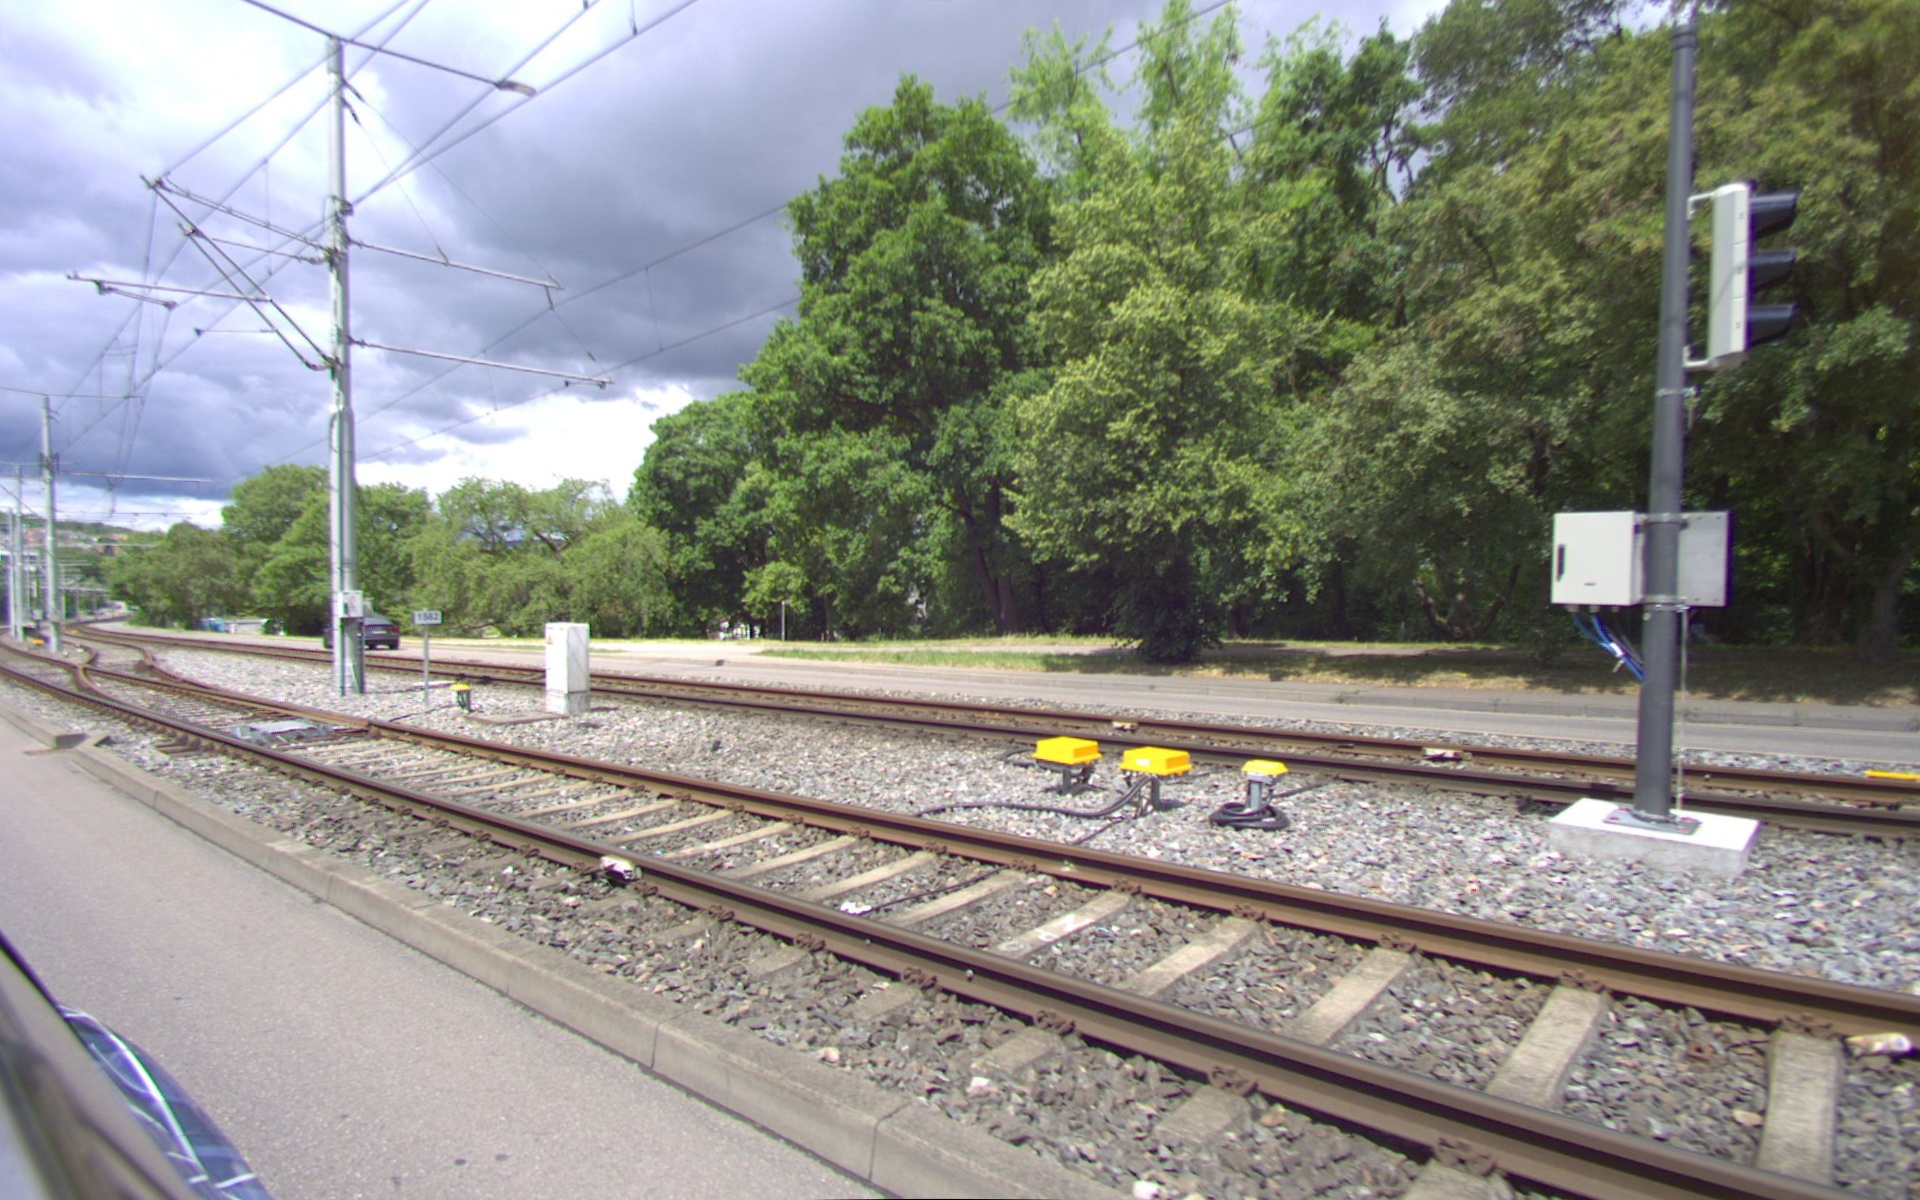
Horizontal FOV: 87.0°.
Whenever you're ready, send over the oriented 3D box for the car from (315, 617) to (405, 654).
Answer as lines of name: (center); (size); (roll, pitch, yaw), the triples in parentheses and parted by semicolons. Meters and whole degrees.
car: (-24.172, 1.426, 40.674); (4.862, 1.402, 1.815); (-1, -2, 43)
